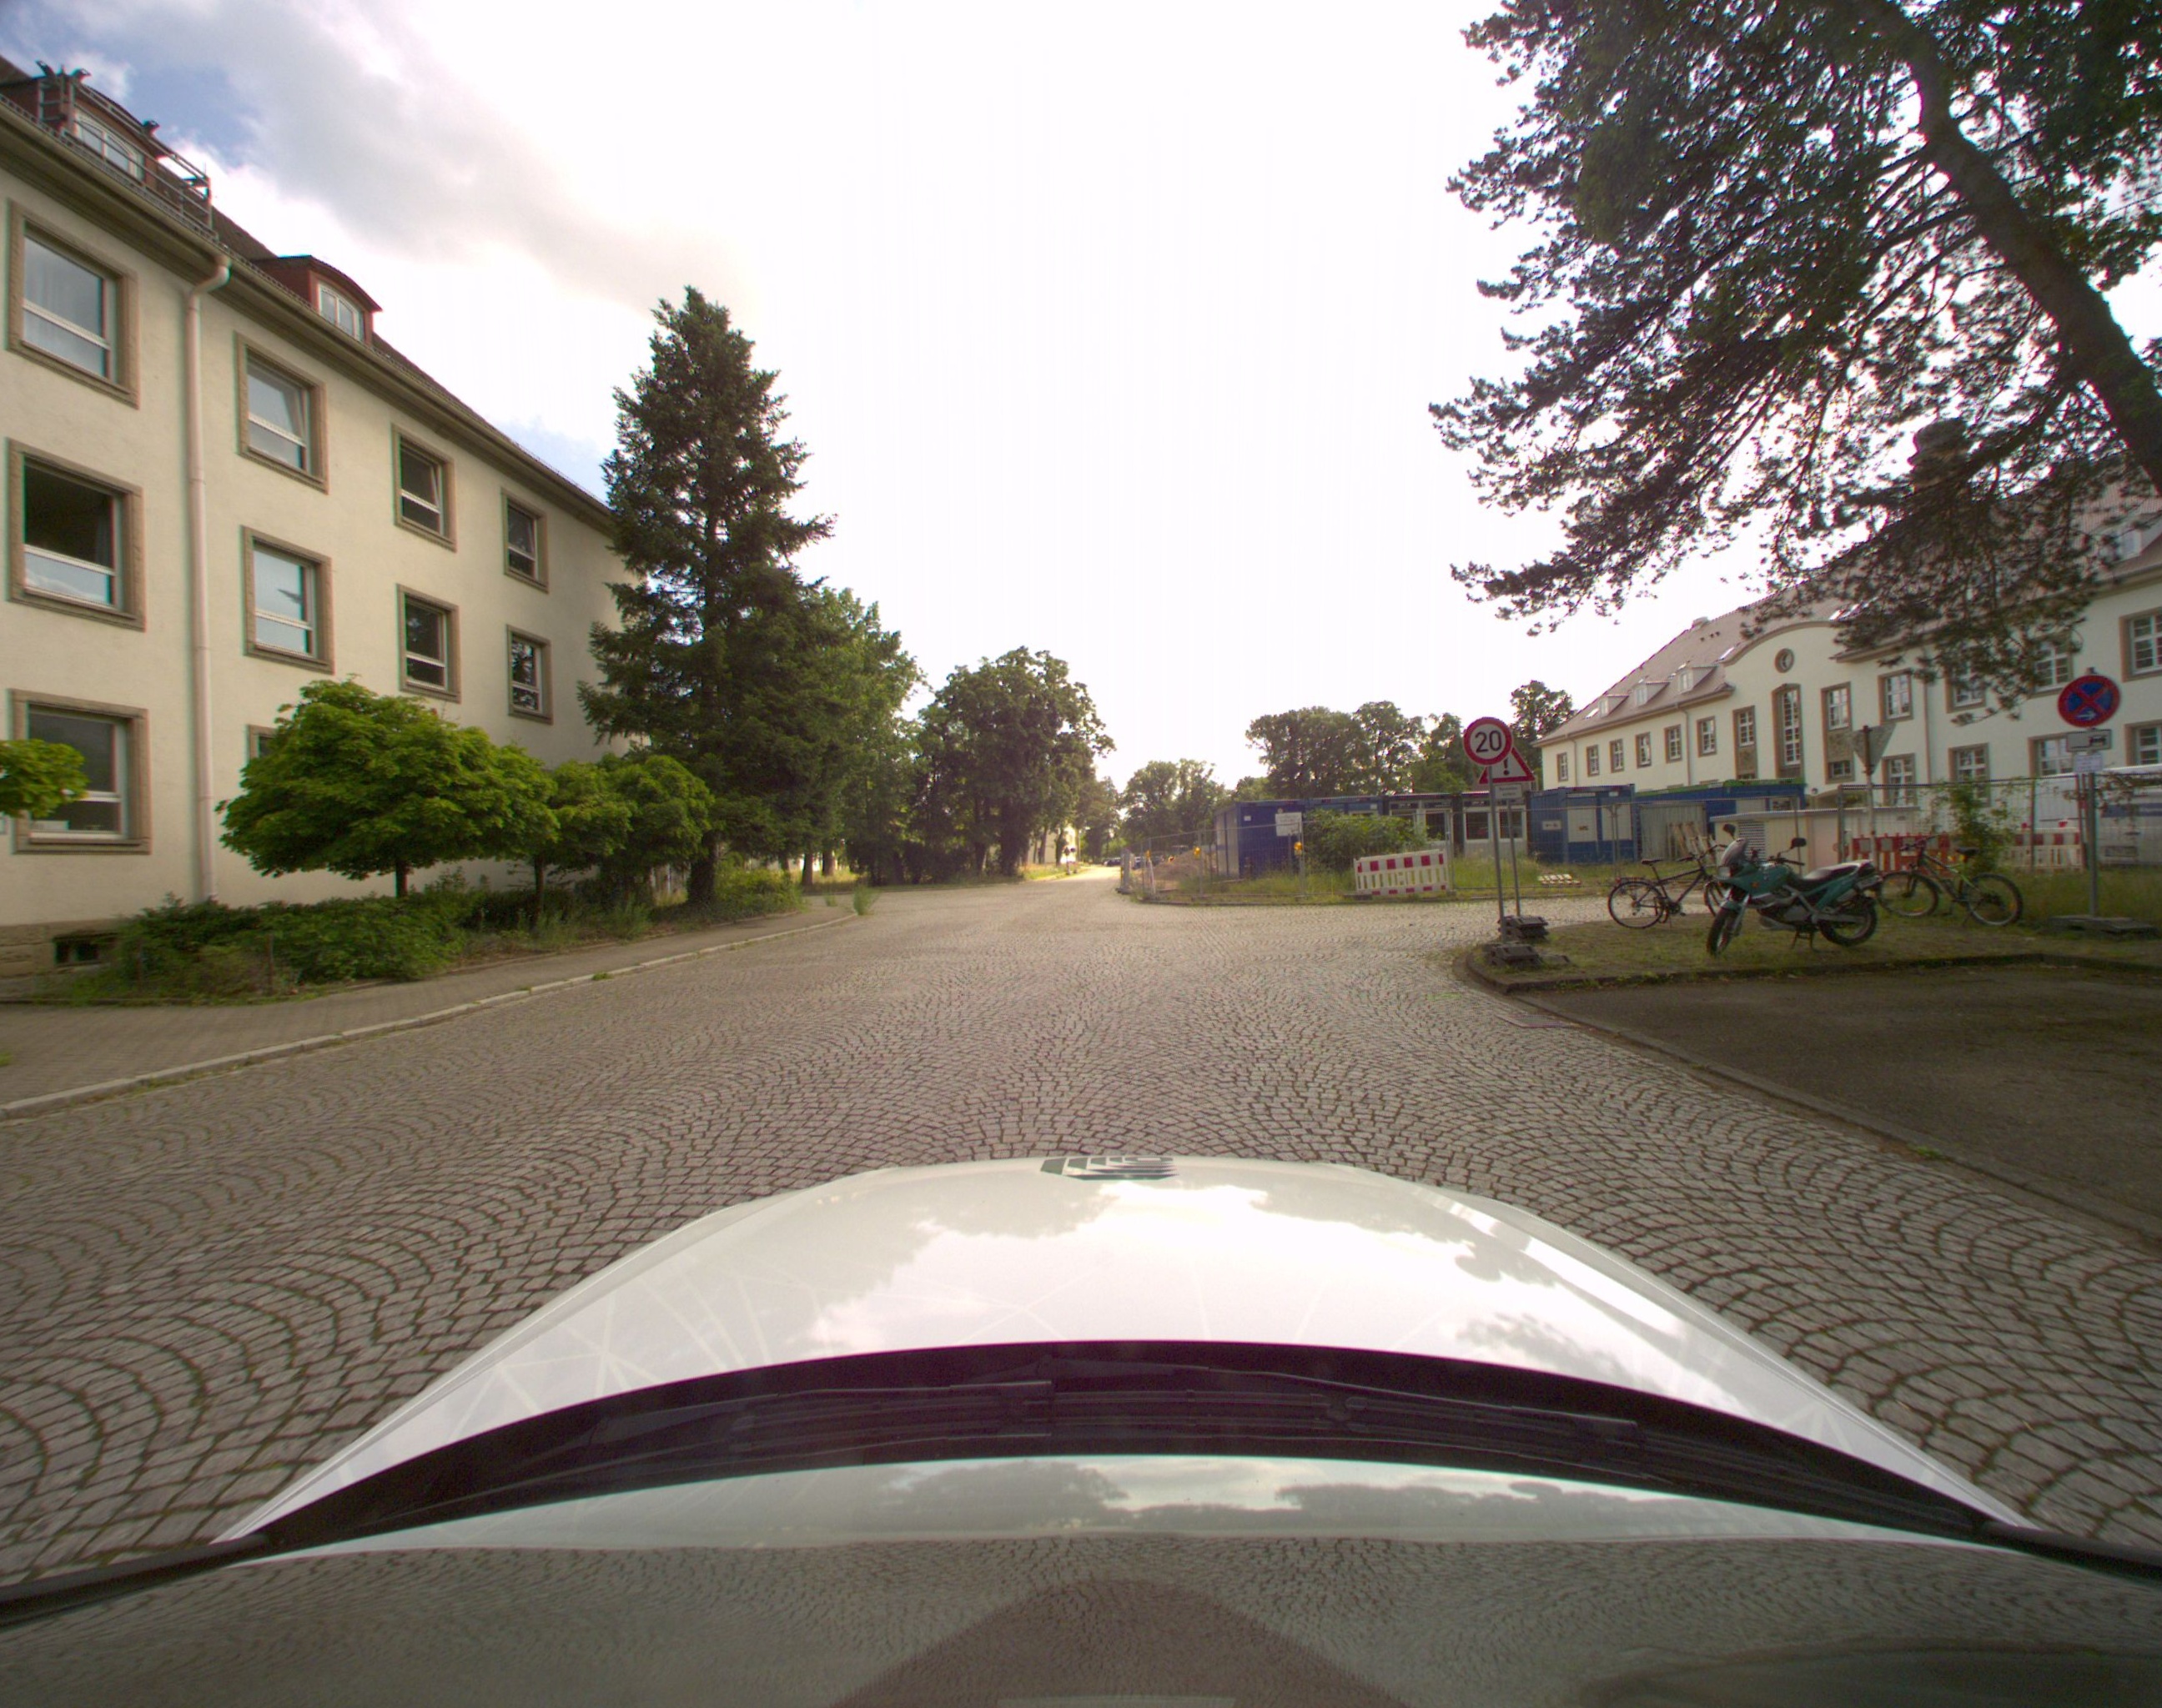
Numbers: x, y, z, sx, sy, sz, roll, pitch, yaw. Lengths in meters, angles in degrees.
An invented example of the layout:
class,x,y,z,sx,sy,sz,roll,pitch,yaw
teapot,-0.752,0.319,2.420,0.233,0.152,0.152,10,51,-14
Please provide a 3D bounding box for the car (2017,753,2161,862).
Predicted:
class,x,y,z,sx,sy,sz,roll,pitch,yaw
car,26.357,-1.117,19.243,1.984,2.556,5.918,-1,-1,5

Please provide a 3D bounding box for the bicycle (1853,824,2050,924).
class,x,y,z,sx,sy,sz,roll,pitch,yaw
bicycle,11.397,0.239,10.773,0.639,1.169,1.907,-3,0,5

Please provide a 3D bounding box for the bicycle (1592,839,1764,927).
class,x,y,z,sx,sy,sz,roll,pitch,yaw
bicycle,8.679,0.430,11.930,1.882,1.197,0.659,-3,0,22

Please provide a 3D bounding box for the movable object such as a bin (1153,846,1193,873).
class,x,y,z,sx,sy,sz,roll,pitch,yaw
movable object such as a bin,9.423,0.543,83.454,2.108,2.593,4.821,-2,-1,32

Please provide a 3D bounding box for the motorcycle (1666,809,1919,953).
class,x,y,z,sx,sy,sz,roll,pitch,yaw
motorcycle,8.229,0.296,9.475,2.271,1.485,0.756,-3,0,-3

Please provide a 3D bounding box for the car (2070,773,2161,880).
class,x,y,z,sx,sy,sz,roll,pitch,yaw
car,21.909,-0.603,15.002,4.837,1.920,1.909,-2,1,3

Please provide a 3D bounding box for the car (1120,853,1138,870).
class,x,y,z,sx,sy,sz,roll,pitch,yaw
car,5.903,0.917,100.644,1.986,2.014,4.092,-2,-1,1

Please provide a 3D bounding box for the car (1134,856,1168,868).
class,x,y,z,sx,sy,sz,roll,pitch,yaw
car,9.557,1.045,110.638,4.375,1.510,2.006,-1,-1,10

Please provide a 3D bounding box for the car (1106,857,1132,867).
class,x,y,z,sx,sy,sz,roll,pitch,yaw
car,7.120,1.465,152.524,4.769,1.641,1.998,-2,-1,-3

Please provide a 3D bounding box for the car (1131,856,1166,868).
class,x,y,z,sx,sy,sz,roll,pitch,yaw
car,8.922,1.034,107.909,4.375,1.510,2.006,-1,-1,10
